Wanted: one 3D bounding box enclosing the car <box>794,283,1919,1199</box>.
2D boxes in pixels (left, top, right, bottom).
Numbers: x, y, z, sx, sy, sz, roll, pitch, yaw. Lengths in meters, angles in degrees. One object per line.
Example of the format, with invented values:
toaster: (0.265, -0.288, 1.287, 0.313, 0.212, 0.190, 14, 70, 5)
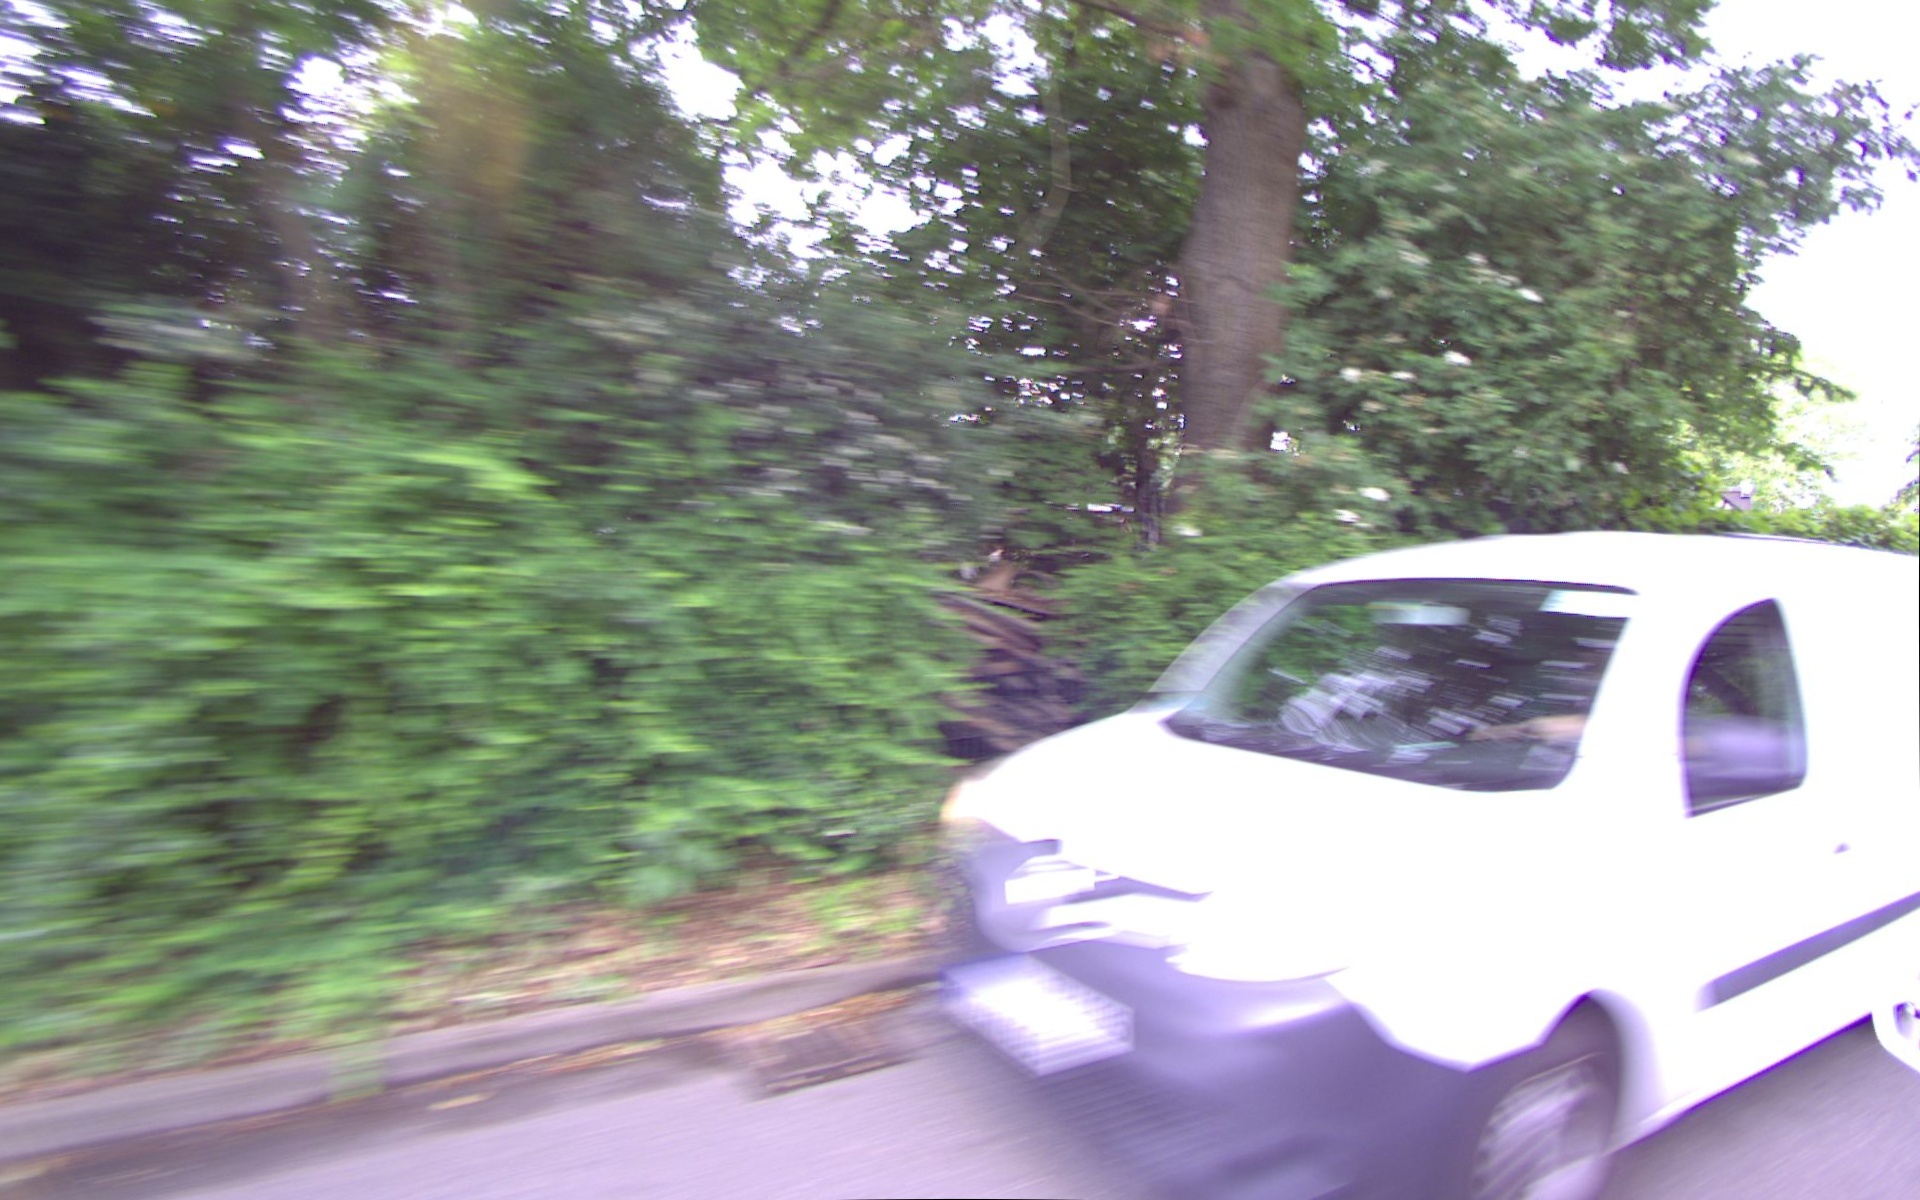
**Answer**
car: (1.850, 0.558, 3.467, 4.381, 1.939, 1.863, 2, -1, -31)
